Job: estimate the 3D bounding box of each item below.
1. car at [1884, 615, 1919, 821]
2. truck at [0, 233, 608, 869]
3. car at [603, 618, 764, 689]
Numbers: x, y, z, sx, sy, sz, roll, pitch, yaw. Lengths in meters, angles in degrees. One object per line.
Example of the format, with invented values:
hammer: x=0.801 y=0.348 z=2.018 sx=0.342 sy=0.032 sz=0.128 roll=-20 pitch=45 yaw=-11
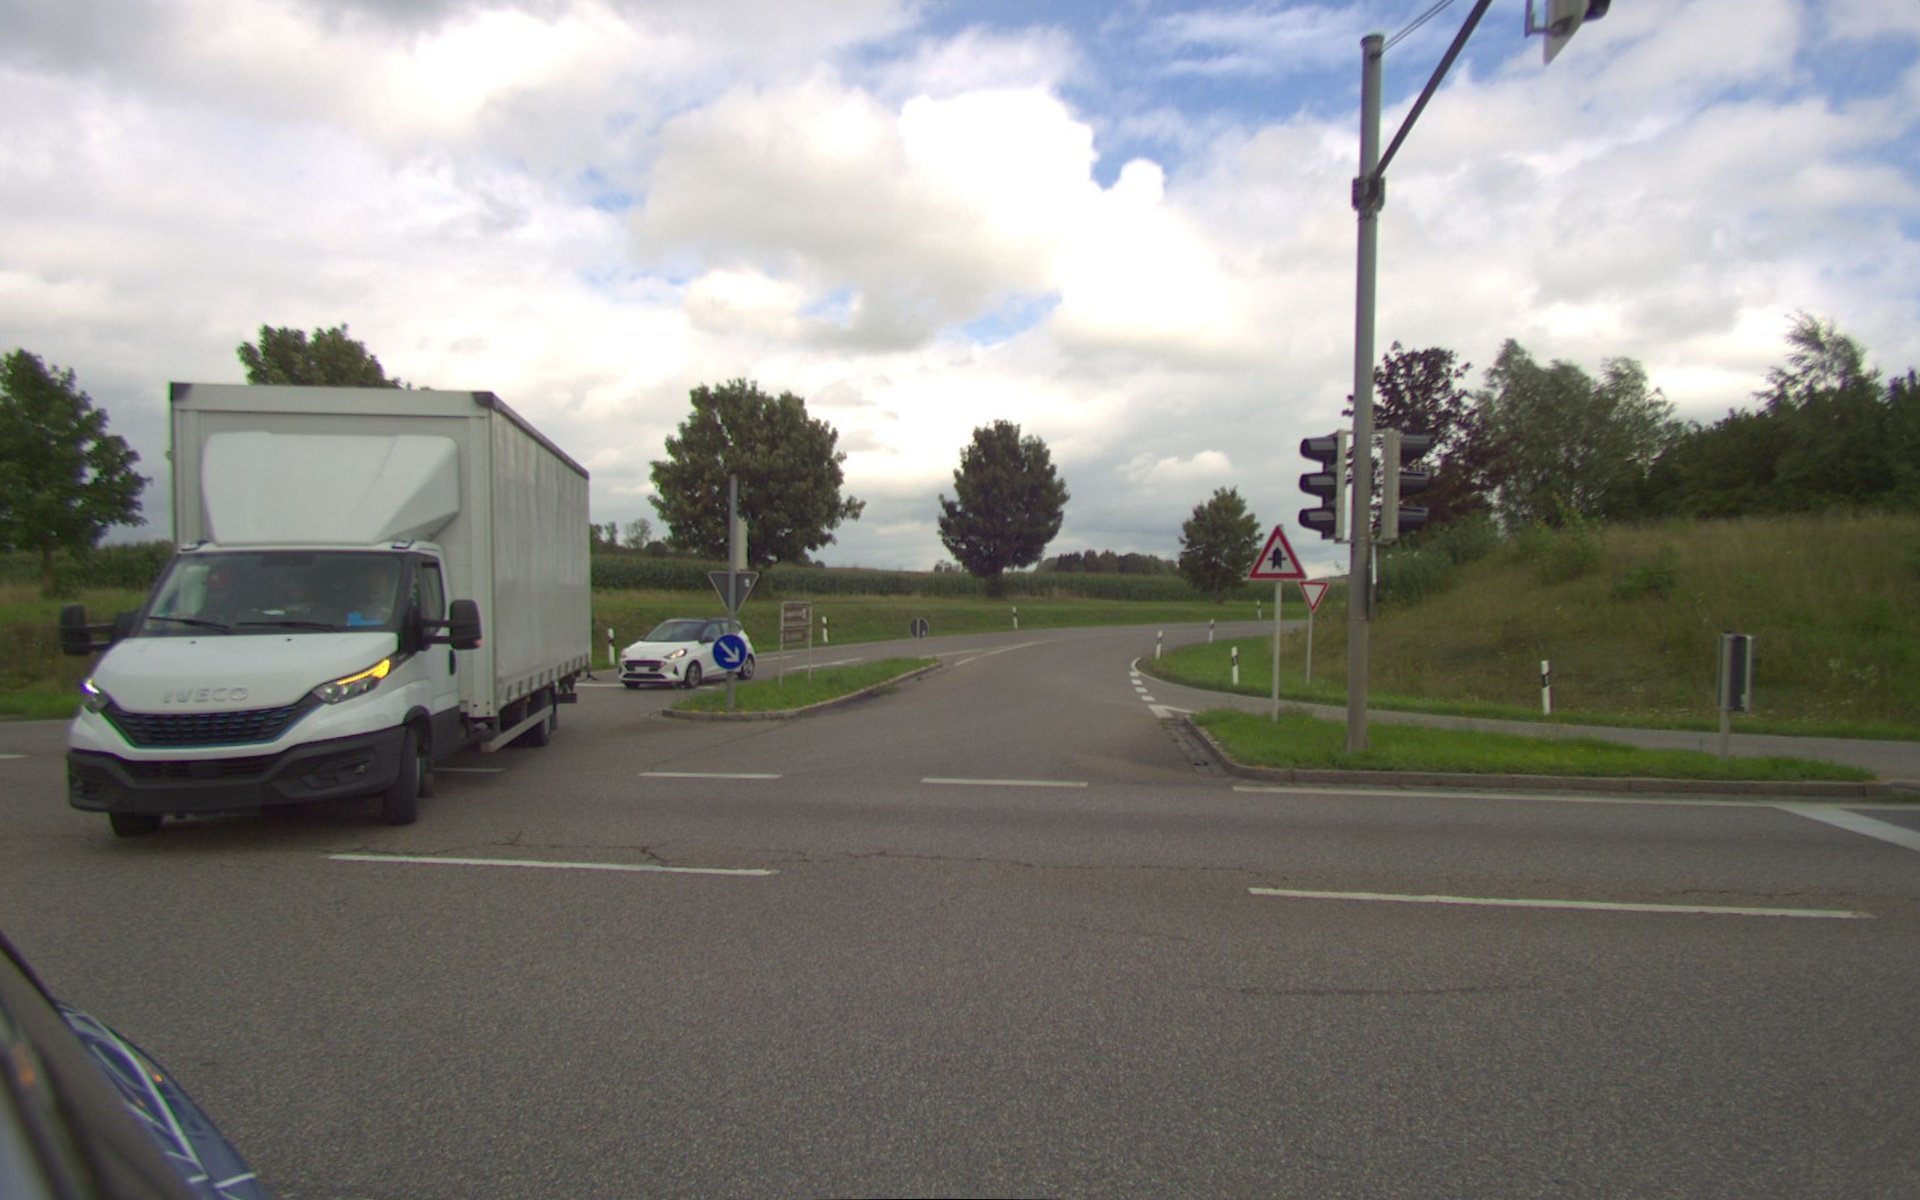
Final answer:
car: x=9.680 y=0.867 z=6.632 sx=5.063 sy=1.546 sz=2.048 roll=0 pitch=-1 yaw=6
truck: x=-5.739 y=-0.179 z=10.524 sx=2.792 sy=3.792 sz=8.820 roll=1 pitch=-2 yaw=-12
car: x=-6.180 y=1.145 z=23.111 sx=1.794 sy=1.463 sz=3.980 roll=0 pitch=-1 yaw=15
